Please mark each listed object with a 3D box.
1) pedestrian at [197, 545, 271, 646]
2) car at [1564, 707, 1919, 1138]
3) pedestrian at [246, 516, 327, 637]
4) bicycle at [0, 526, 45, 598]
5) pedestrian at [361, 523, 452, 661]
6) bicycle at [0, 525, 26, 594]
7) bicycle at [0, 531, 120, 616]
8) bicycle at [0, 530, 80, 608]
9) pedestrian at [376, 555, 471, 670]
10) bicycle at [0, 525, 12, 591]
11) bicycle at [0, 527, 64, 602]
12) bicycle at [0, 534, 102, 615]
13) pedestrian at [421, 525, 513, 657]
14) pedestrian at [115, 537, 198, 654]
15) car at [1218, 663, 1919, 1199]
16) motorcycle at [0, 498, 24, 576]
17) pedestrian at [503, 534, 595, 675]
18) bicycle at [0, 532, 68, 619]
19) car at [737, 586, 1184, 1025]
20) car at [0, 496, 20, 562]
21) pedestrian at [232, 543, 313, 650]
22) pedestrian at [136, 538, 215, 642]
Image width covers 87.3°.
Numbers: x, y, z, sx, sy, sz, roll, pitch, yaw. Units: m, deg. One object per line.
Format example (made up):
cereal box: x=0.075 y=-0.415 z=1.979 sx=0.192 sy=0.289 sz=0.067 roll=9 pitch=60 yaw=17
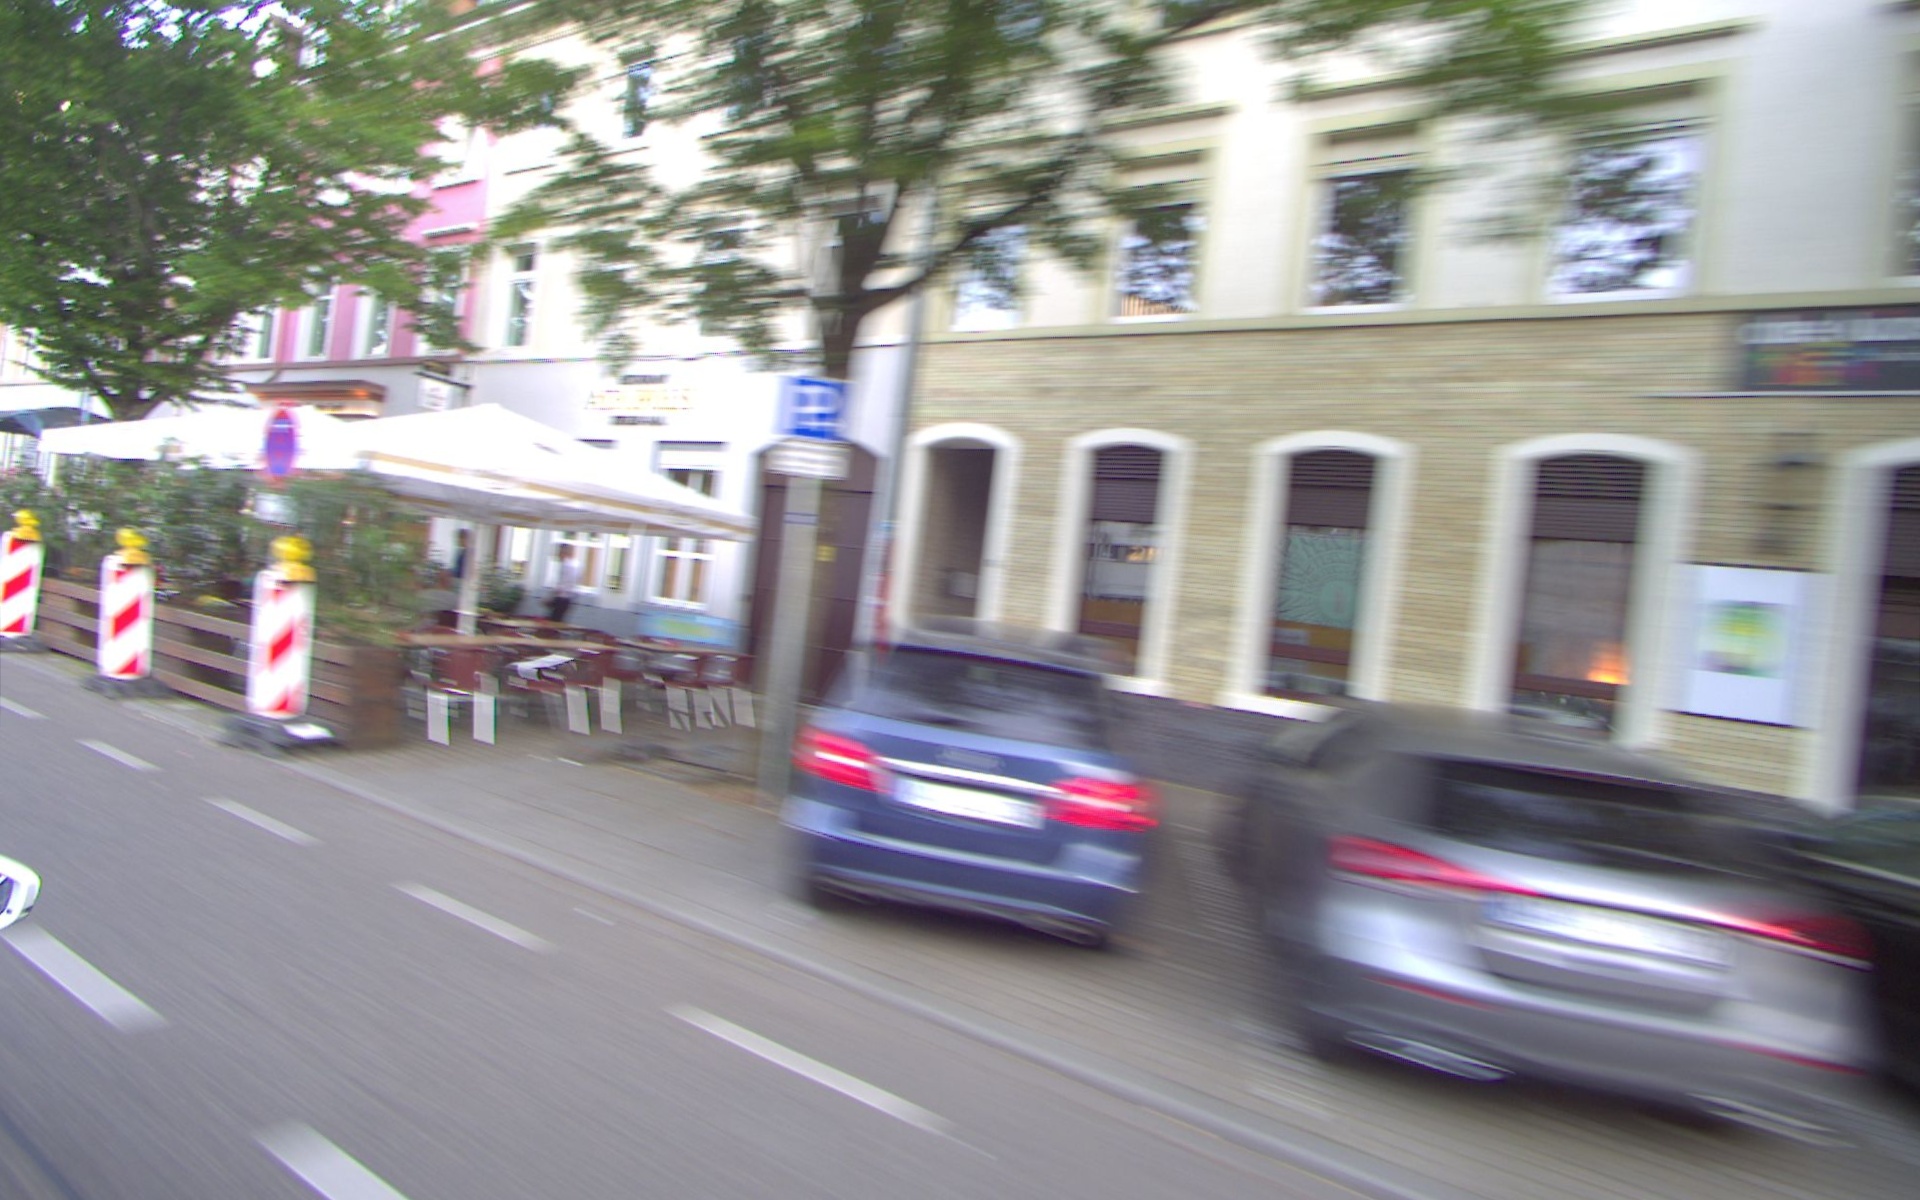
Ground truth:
pedestrian: x=-10.116 y=-0.059 z=14.024 sx=0.589 sy=1.307 sz=0.503 roll=7 pitch=-1 yaw=28
car: x=4.676 y=1.483 z=4.091 sx=1.773 sy=1.407 sz=4.322 roll=7 pitch=1 yaw=1
pedestrian: x=-10.599 y=-0.370 z=15.830 sx=0.879 sy=1.783 sz=0.552 roll=7 pitch=-1 yaw=31
bicycle: x=-14.891 y=-0.617 z=14.872 sx=0.598 sy=1.045 sz=1.888 roll=7 pitch=2 yaw=30
pedestrian: x=-7.614 y=-0.098 z=13.857 sx=0.701 sy=1.783 sz=0.553 roll=7 pitch=-1 yaw=15
bicycle: x=-15.544 y=-0.685 z=15.259 sx=0.598 sy=1.045 sz=1.888 roll=7 pitch=2 yaw=30
bicycle: x=-12.523 y=-0.364 z=13.476 sx=0.598 sy=1.045 sz=1.817 roll=7 pitch=2 yaw=30
bicycle: x=-13.776 y=-0.470 z=14.222 sx=0.598 sy=1.045 sz=1.888 roll=7 pitch=2 yaw=30
pedestrian: x=-6.669 y=0.166 z=12.527 sx=0.702 sy=1.321 sz=0.553 roll=7 pitch=-1 yaw=4
bicycle: x=-16.090 y=-0.727 z=15.604 sx=0.598 sy=1.045 sz=1.888 roll=7 pitch=2 yaw=30
bicycle: x=-14.317 y=-0.554 z=14.565 sx=0.598 sy=1.045 sz=1.888 roll=7 pitch=2 yaw=30
bicycle: x=-13.148 y=-0.372 z=13.865 sx=0.598 sy=1.045 sz=1.888 roll=7 pitch=2 yaw=30
pedestrian: x=-7.124 y=-0.123 z=14.543 sx=0.836 sy=1.783 sz=0.553 roll=7 pitch=-1 yaw=15
pedestrian: x=-9.602 y=-0.054 z=12.021 sx=0.591 sy=1.307 sz=0.502 roll=7 pitch=-1 yaw=36
car: x=2.379 y=1.206 z=5.088 sx=1.673 sy=1.425 sz=3.786 roll=7 pitch=0 yaw=10
motorcycle: x=-19.293 y=-1.314 z=18.921 sx=0.951 sy=1.480 sz=2.225 roll=7 pitch=1 yaw=30
pedestrian: x=-5.546 y=0.071 z=13.610 sx=0.701 sy=1.783 sz=0.705 roll=7 pitch=-1 yaw=6
bicycle: x=-12.250 y=-0.335 z=12.455 sx=0.547 sy=1.045 sz=1.680 roll=7 pitch=2 yaw=30
car: x=0.198 y=0.847 z=6.072 sx=1.673 sy=1.572 sz=3.975 roll=7 pitch=0 yaw=6
car: x=-22.704 y=-1.701 z=20.990 sx=1.788 sy=1.445 sz=4.174 roll=7 pitch=1 yaw=13
pedestrian: x=-8.989 y=-0.038 z=13.160 sx=0.495 sy=1.307 sz=0.599 roll=7 pitch=-1 yaw=33
pedestrian: x=-10.558 y=-0.131 z=13.544 sx=0.589 sy=1.307 sz=0.503 roll=7 pitch=-1 yaw=27
